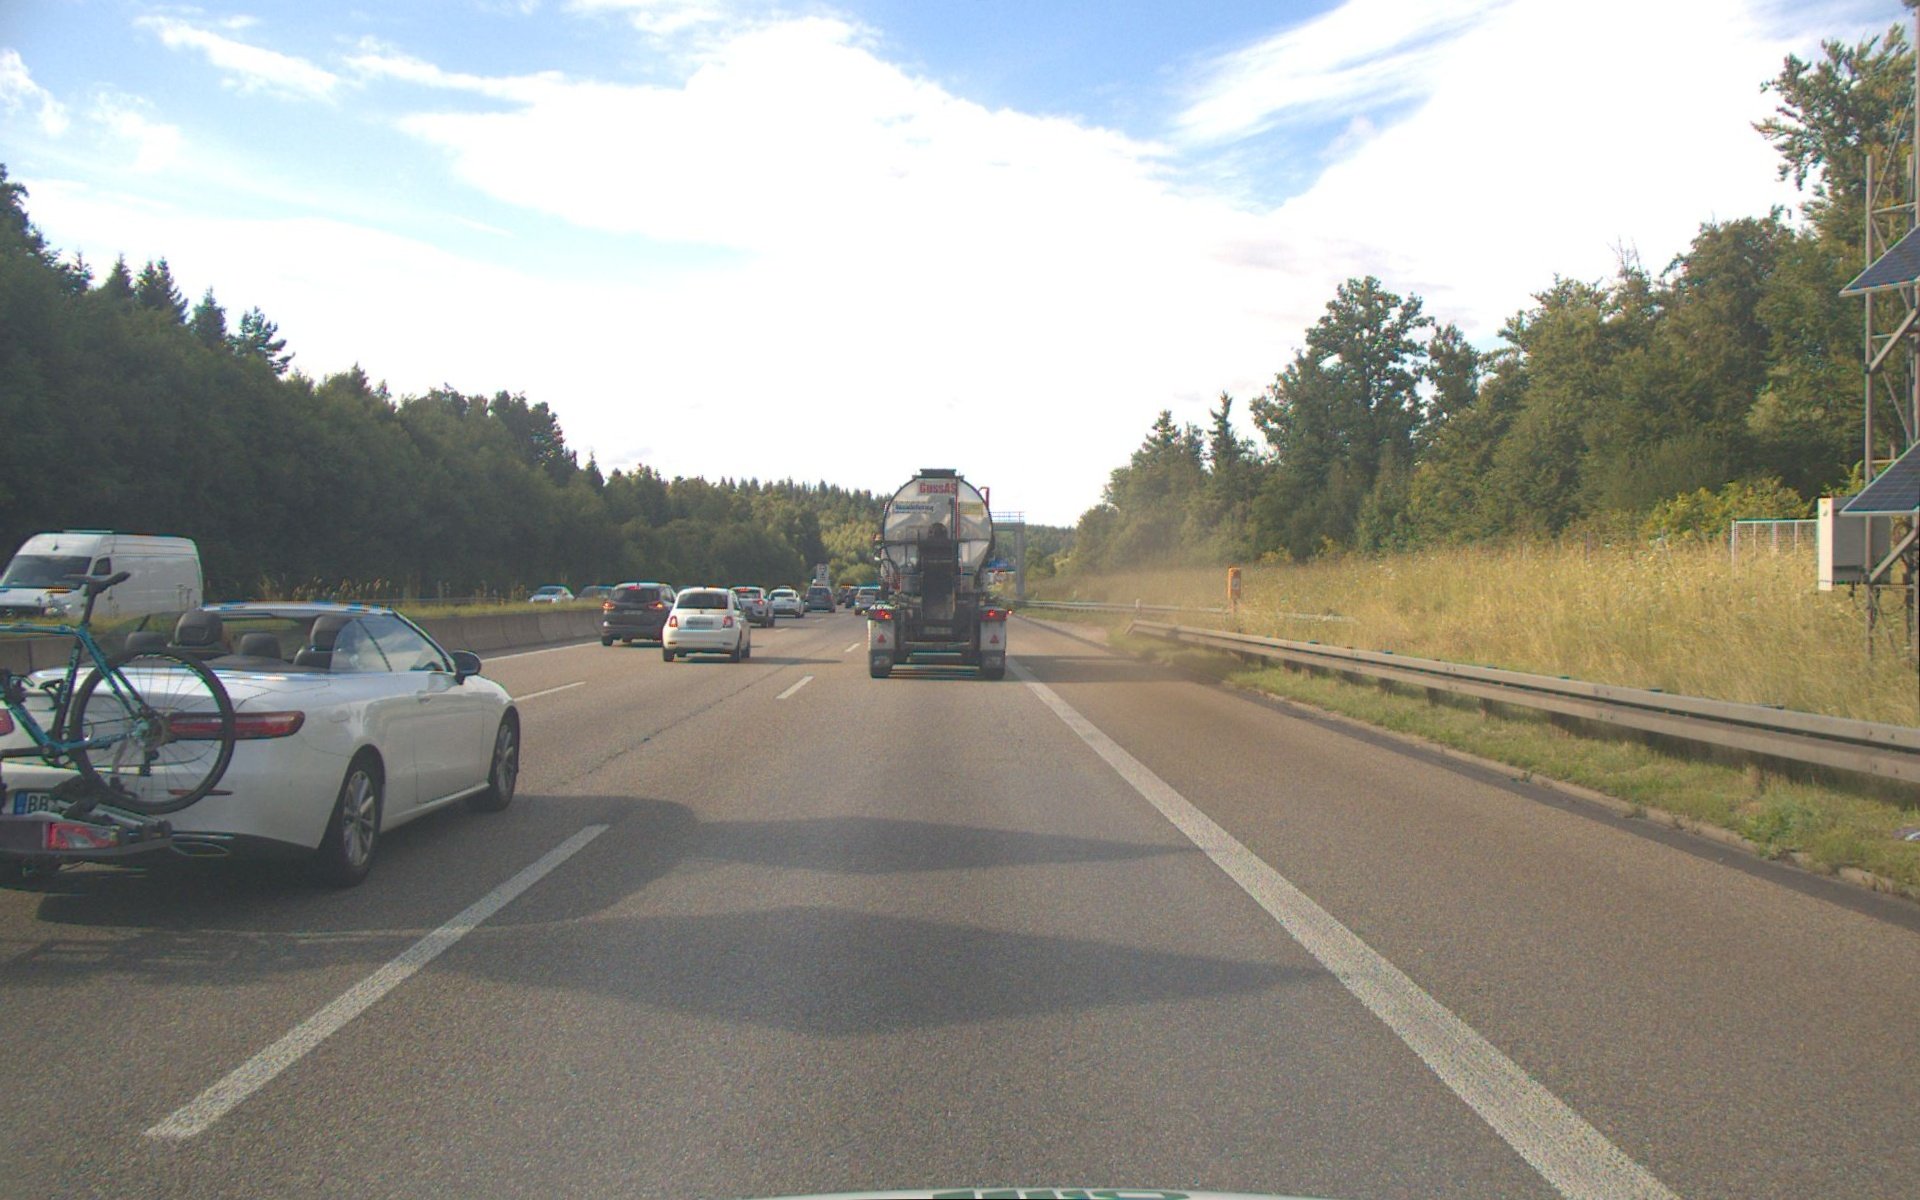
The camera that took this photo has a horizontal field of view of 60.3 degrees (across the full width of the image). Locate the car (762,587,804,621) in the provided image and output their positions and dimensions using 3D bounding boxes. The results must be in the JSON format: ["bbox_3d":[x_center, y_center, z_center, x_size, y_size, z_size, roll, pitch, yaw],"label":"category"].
[{"bbox_3d":[-9.085,0.197,85.201,1.770,1.613,4.206,1,1,-1],"label":"car"}]

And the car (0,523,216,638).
[{"bbox_3d":[-19.250,-0.422,37.197,2.066,2.353,6.723,0,0,-1],"label":"car"}]

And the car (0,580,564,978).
[{"bbox_3d":[-3.878,0.666,9.210,2.018,1.525,5.735,0,0,-1],"label":"car"}]

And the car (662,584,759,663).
[{"bbox_3d":[-5.250,0.464,35.151,1.585,1.571,3.519,1,0,-1],"label":"car"}]

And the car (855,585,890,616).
[{"bbox_3d":[-5.154,0.013,97.556,1.903,1.683,4.206,1,1,-1],"label":"car"}]

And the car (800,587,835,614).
[{"bbox_3d":[-8.950,0.004,104.396,1.903,1.613,4.206,1,1,-1],"label":"car"}]

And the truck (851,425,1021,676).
[{"bbox_3d":[-0.457,-0.884,33.611,2.853,4.230,11.268,0,0,-1],"label":"truck"}]

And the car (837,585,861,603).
[{"bbox_3d":[-9.677,-0.547,144.821,1.903,1.482,4.206,1,1,-1],"label":"car"}]

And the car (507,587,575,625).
[{"bbox_3d":[-24.577,0.316,97.191,2.526,2.176,5.965,0,0,-1],"label":"car"}]

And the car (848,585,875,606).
[{"bbox_3d":[-7.607,-0.378,127.764,1.903,1.482,4.206,1,1,-1],"label":"car"}]

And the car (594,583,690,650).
[{"bbox_3d":[-8.340,0.391,43.708,1.770,1.613,4.206,1,1,-1],"label":"car"}]

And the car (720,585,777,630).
[{"bbox_3d":[-8.194,0.267,64.411,1.770,1.613,4.206,1,1,-1],"label":"car"}]
